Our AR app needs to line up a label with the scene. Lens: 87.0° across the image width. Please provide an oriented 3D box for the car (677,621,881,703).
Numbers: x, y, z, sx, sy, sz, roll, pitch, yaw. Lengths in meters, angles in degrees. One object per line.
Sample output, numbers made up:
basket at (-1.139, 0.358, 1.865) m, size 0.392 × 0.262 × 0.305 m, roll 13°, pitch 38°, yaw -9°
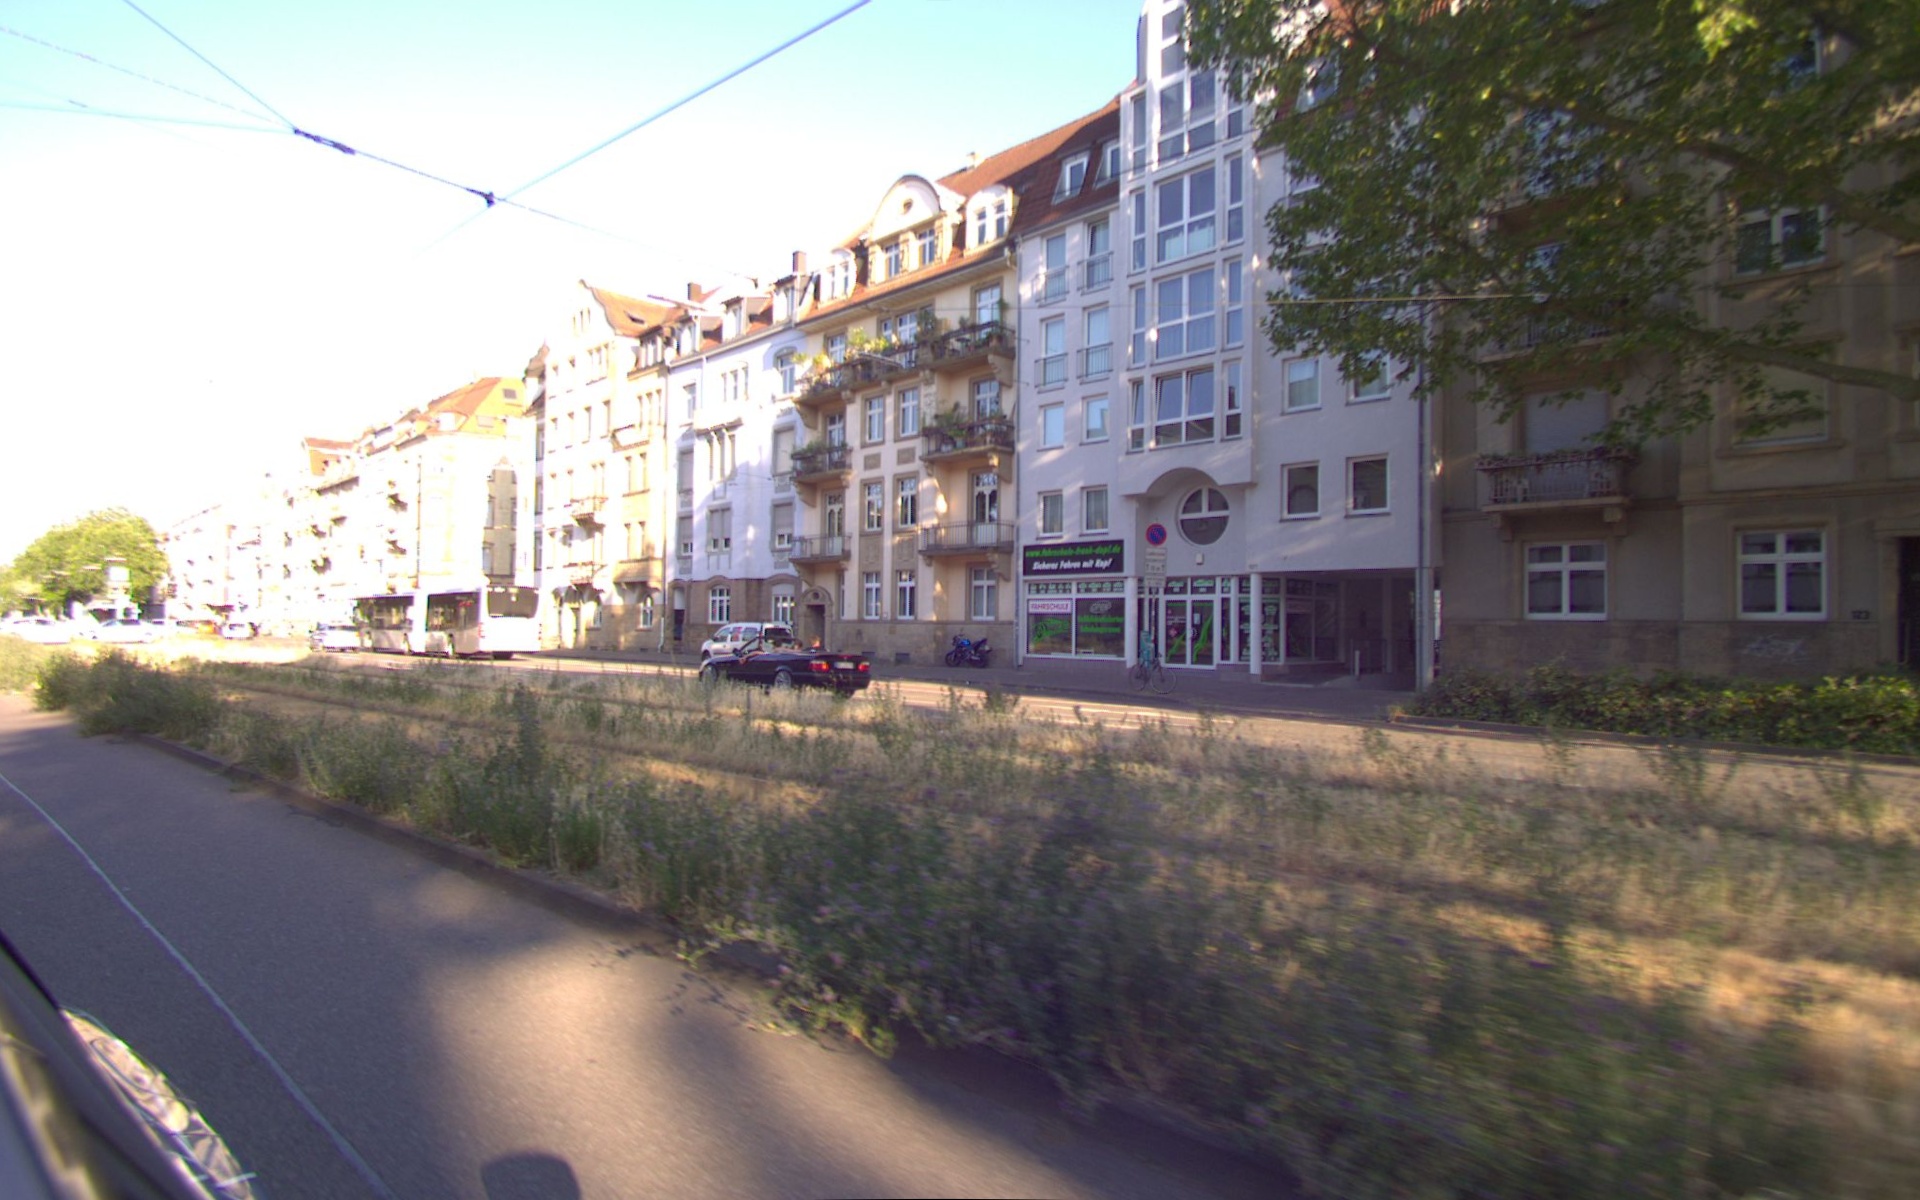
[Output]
car at (-3.839, 1.241, 20.953) m, size 4.701 × 1.497 × 1.697 m, roll -1°, pitch -5°, yaw 44°

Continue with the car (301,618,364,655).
car at (-30.662, 1.769, 49.383) m, size 1.906 × 1.697 × 4.005 m, roll 2°, pitch -2°, yaw -42°

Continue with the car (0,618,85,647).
car at (-49.681, 1.743, 54.316) m, size 3.991 × 1.537 × 1.785 m, roll 2°, pitch -1°, yaw -39°

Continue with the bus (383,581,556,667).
bus at (-22.133, 0.987, 45.105) m, size 3.217 × 3.399 × 11.985 m, roll 2°, pitch -2°, yaw -45°

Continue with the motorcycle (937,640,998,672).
motorcycle at (0.239, 1.929, 35.225) m, size 2.421 × 1.029 × 0.522 m, roll -1°, pitch 0°, yaw 44°

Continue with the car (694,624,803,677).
car at (-8.084, 1.851, 38.408) m, size 1.882 × 1.800 × 4.657 m, roll 2°, pitch -2°, yaw -43°

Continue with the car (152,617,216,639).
car at (-53.057, 1.909, 69.312) m, size 1.814 × 1.461 × 4.120 m, roll 1°, pitch -1°, yaw -11°

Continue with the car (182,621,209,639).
car at (-83.835, 3.258, 110.955) m, size 1.892 × 1.914 × 4.313 m, roll 2°, pitch -2°, yaw -44°

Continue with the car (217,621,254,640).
car at (-59.049, 2.523, 82.549) m, size 1.707 × 1.491 × 3.827 m, roll 2°, pitch -2°, yaw -24°

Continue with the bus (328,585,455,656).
bus at (-29.898, 1.002, 52.961) m, size 3.227 × 3.399 × 9.905 m, roll 2°, pitch -2°, yaw -45°

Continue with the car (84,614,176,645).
car at (-48.736, 1.722, 59.459) m, size 1.836 × 1.719 × 3.942 m, roll 0°, pitch -2°, yaw 44°

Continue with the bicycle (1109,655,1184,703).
bicycle at (4.739, 2.000, 25.856) m, size 0.747 × 1.040 × 1.900 m, roll -5°, pitch 2°, yaw -32°
